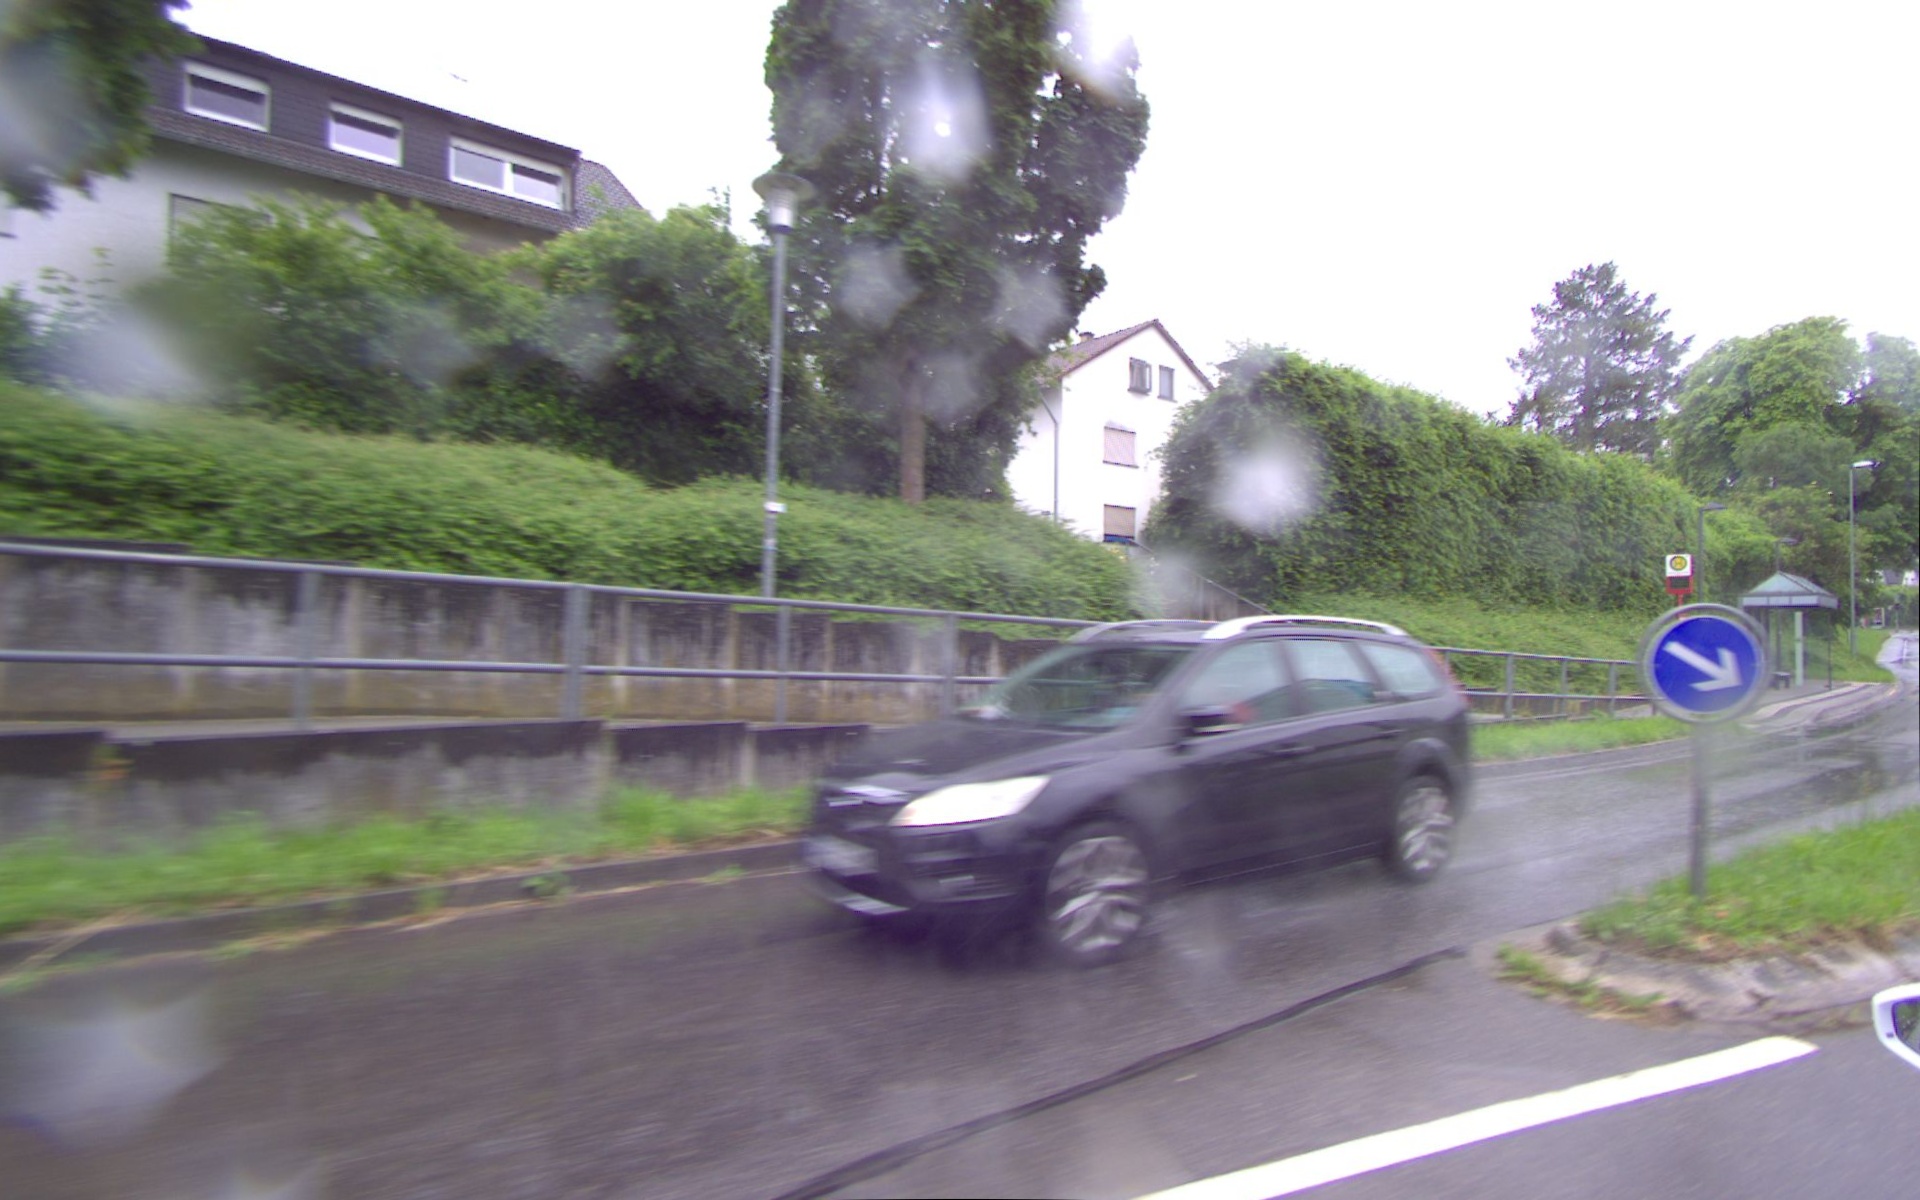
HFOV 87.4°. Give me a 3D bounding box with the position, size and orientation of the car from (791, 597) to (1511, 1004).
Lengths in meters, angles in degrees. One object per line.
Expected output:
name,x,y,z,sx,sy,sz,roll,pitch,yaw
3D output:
car,1.275,0.837,5.731,4.103,1.522,1.748,2,-3,-37
